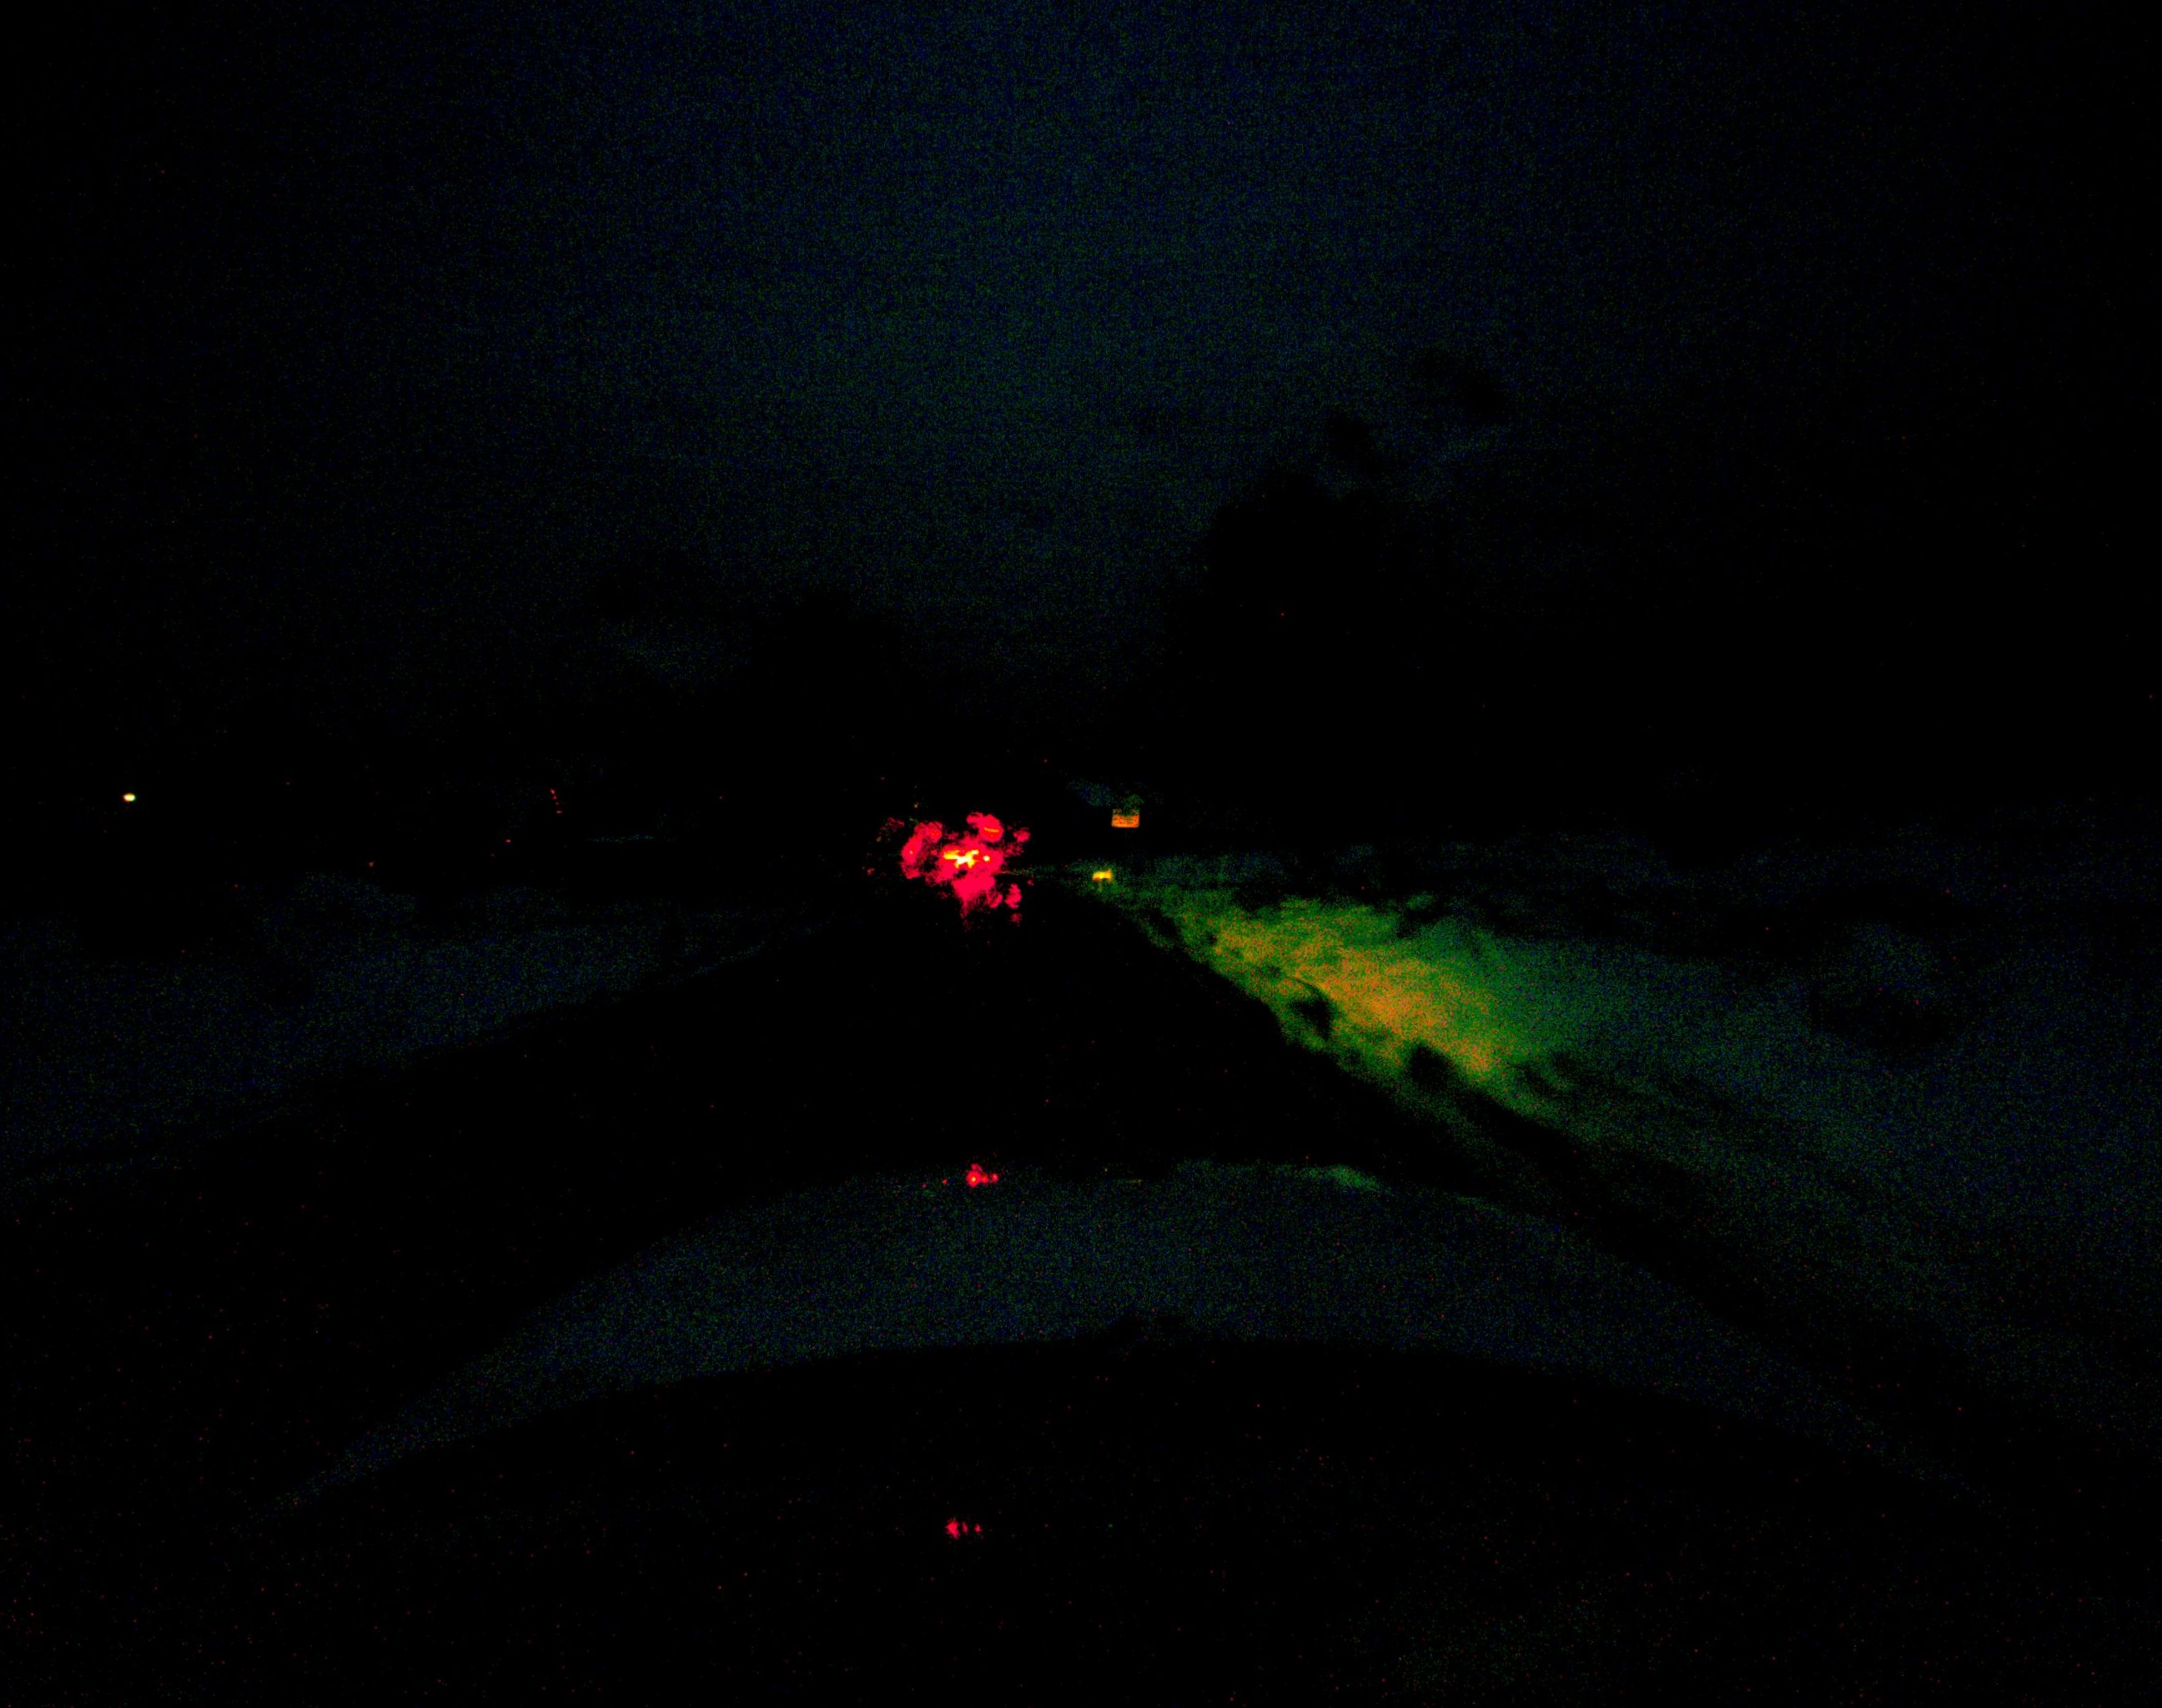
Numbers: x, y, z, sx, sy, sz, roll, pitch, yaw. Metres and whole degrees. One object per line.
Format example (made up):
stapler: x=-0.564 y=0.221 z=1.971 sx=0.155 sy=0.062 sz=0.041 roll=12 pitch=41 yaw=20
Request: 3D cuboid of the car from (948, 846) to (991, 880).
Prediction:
car: x=-6.558 y=0.479 z=47.575 sx=2.274 sy=1.840 sz=4.990 roll=-2 pitch=0 yaw=-10

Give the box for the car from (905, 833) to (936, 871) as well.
car: x=-13.415 y=-0.118 z=68.095 sx=2.436 sy=3.019 sz=5.305 roll=-1 pitch=-1 yaw=-11
